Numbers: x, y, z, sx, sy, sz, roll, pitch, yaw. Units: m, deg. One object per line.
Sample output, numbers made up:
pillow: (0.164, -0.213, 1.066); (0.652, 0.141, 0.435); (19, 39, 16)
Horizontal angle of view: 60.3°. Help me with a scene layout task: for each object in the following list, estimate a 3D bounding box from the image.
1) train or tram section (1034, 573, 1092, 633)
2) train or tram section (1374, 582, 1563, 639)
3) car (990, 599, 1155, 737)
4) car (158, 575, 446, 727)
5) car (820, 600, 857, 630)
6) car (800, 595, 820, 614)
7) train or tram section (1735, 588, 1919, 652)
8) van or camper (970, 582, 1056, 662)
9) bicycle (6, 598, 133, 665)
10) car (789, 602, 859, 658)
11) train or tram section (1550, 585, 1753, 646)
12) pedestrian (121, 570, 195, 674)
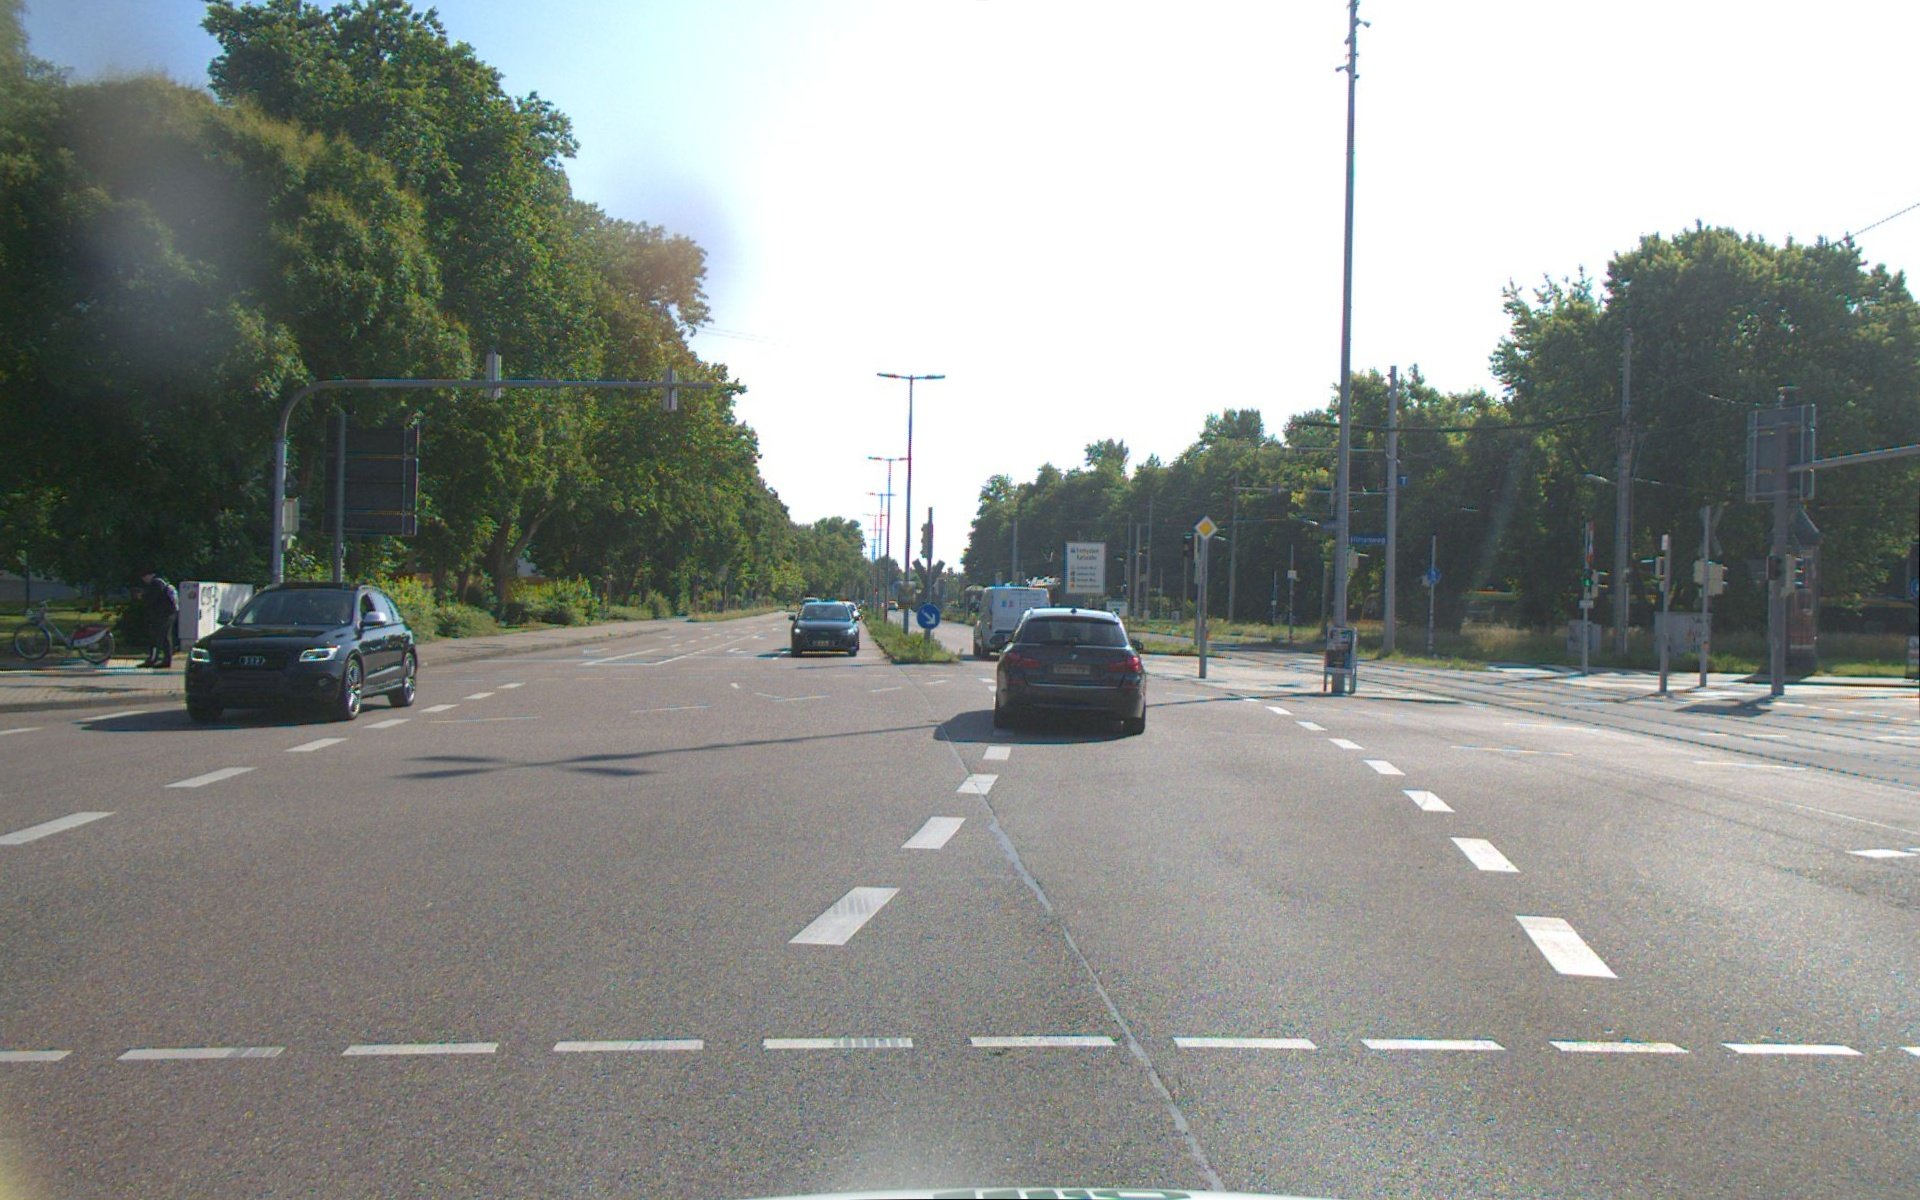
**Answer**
train or tram section: (6.817, 0.254, 111.213); (2.740, 3.681, 12.951); (2, -1, -1)
train or tram section: (35.209, 0.689, 114.663); (12.157, 3.642, 3.051); (1, 0, 26)
car: (1.340, 0.787, 20.987); (1.864, 1.532, 4.065); (1, 0, 1)
car: (-8.203, 0.585, 21.102); (1.949, 1.688, 4.383); (1, 0, -1)
car: (-6.496, 0.789, 88.690); (1.811, 1.503, 4.643); (1, 0, -3)
car: (-14.619, 0.441, 161.136); (1.753, 1.803, 4.566); (1, 0, -3)
train or tram section: (53.752, 1.166, 100.505); (3.023, 3.642, 12.063); (2, 0, -38)
van or camper: (1.460, 0.591, 47.306); (1.954, 2.133, 4.594); (1, 0, -4)
bicycle: (-15.856, 0.554, 29.474); (1.872, 1.138, 0.631); (1, 0, -5)
car: (-3.692, 0.787, 45.502); (1.793, 1.456, 4.728); (0, 0, -3)
train or tram section: (45.439, 0.963, 108.952); (11.968, 3.642, 3.047); (1, 0, 31)
pedestrian: (-14.231, 0.386, 29.358); (0.799, 1.782, 0.931); (2, 0, 0)
